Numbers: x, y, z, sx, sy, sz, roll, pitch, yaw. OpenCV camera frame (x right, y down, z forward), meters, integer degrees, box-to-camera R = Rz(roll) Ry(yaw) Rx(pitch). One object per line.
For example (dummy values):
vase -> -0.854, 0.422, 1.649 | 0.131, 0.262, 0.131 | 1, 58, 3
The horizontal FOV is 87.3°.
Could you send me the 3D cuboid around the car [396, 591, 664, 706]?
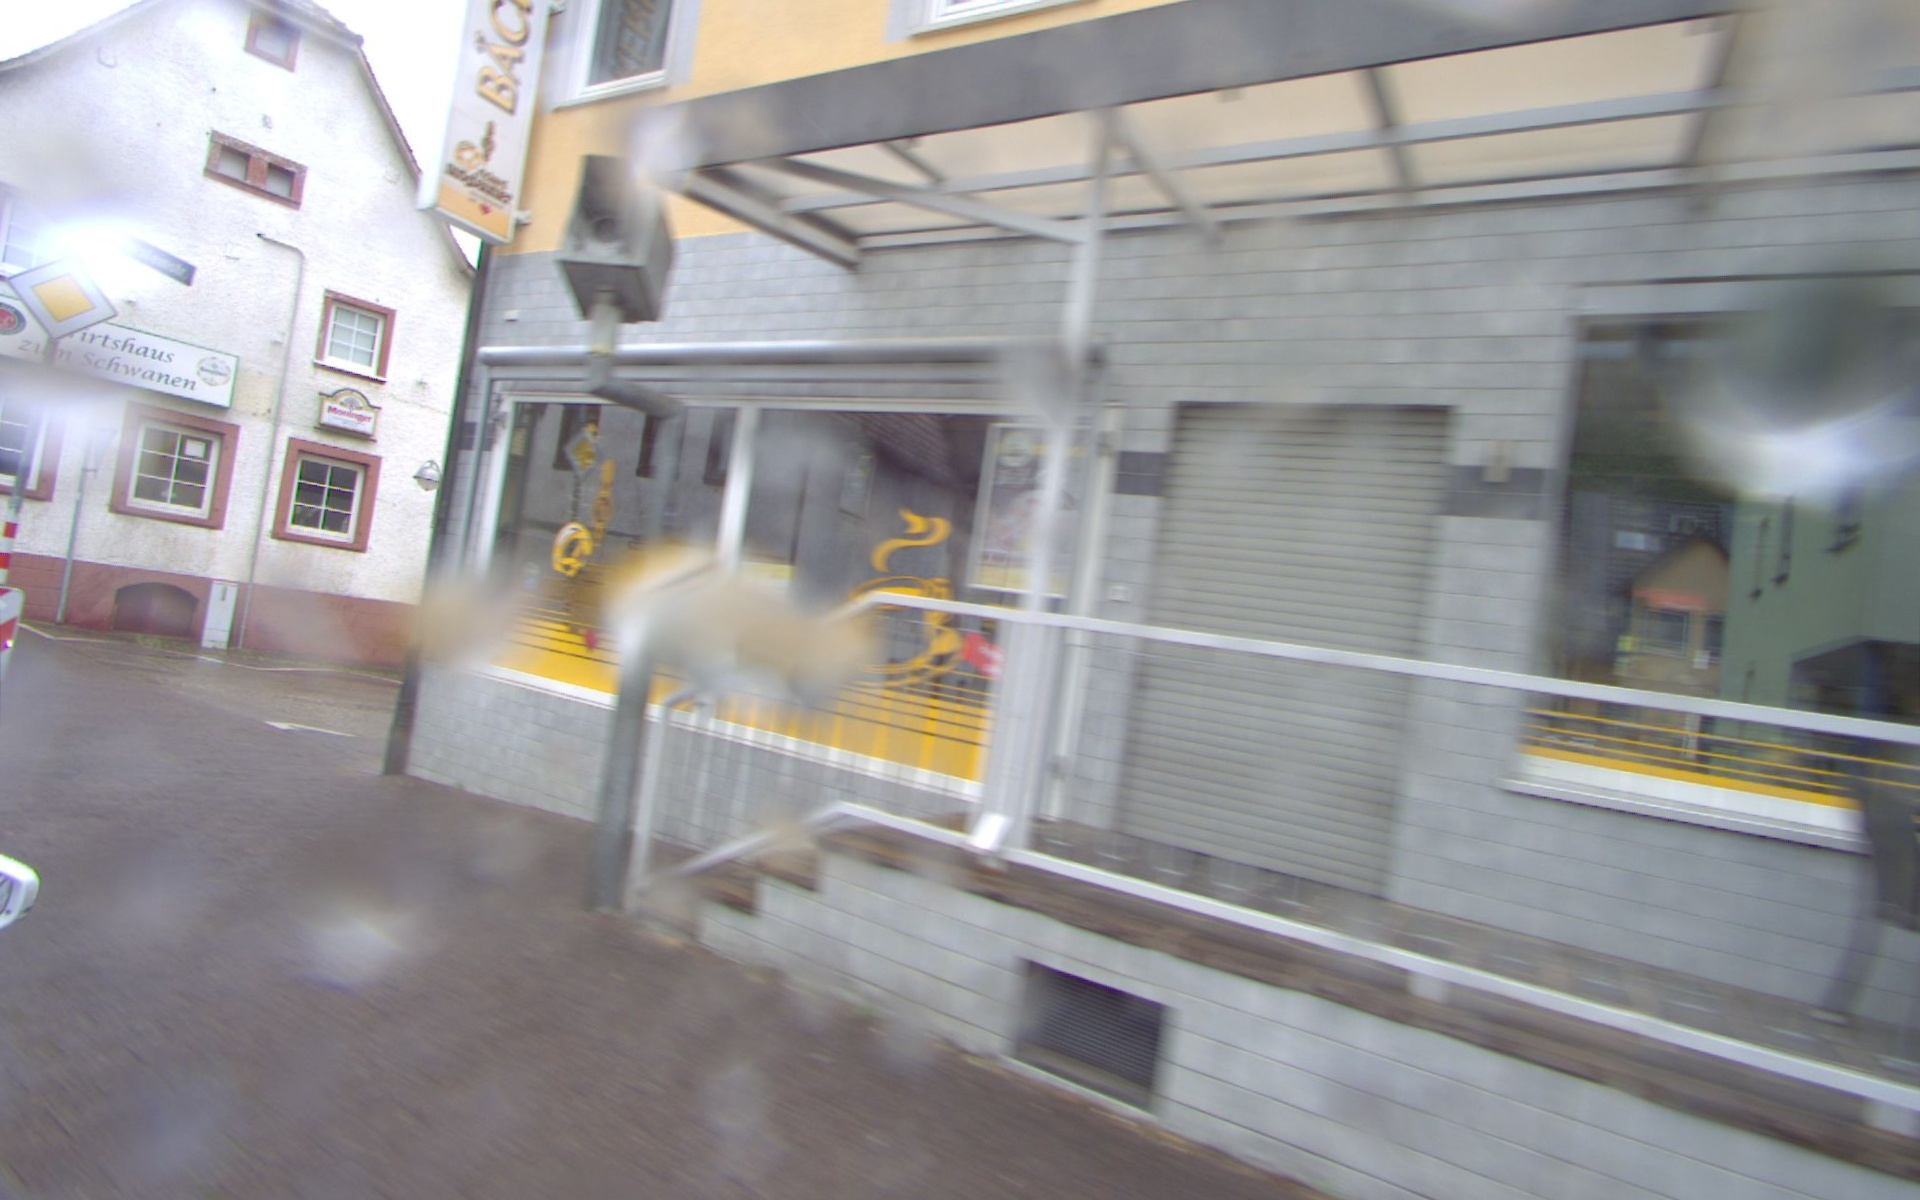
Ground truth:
car -> -7.526, 0.919, 17.909 | 1.639, 1.388, 3.952 | 8, -4, 41
